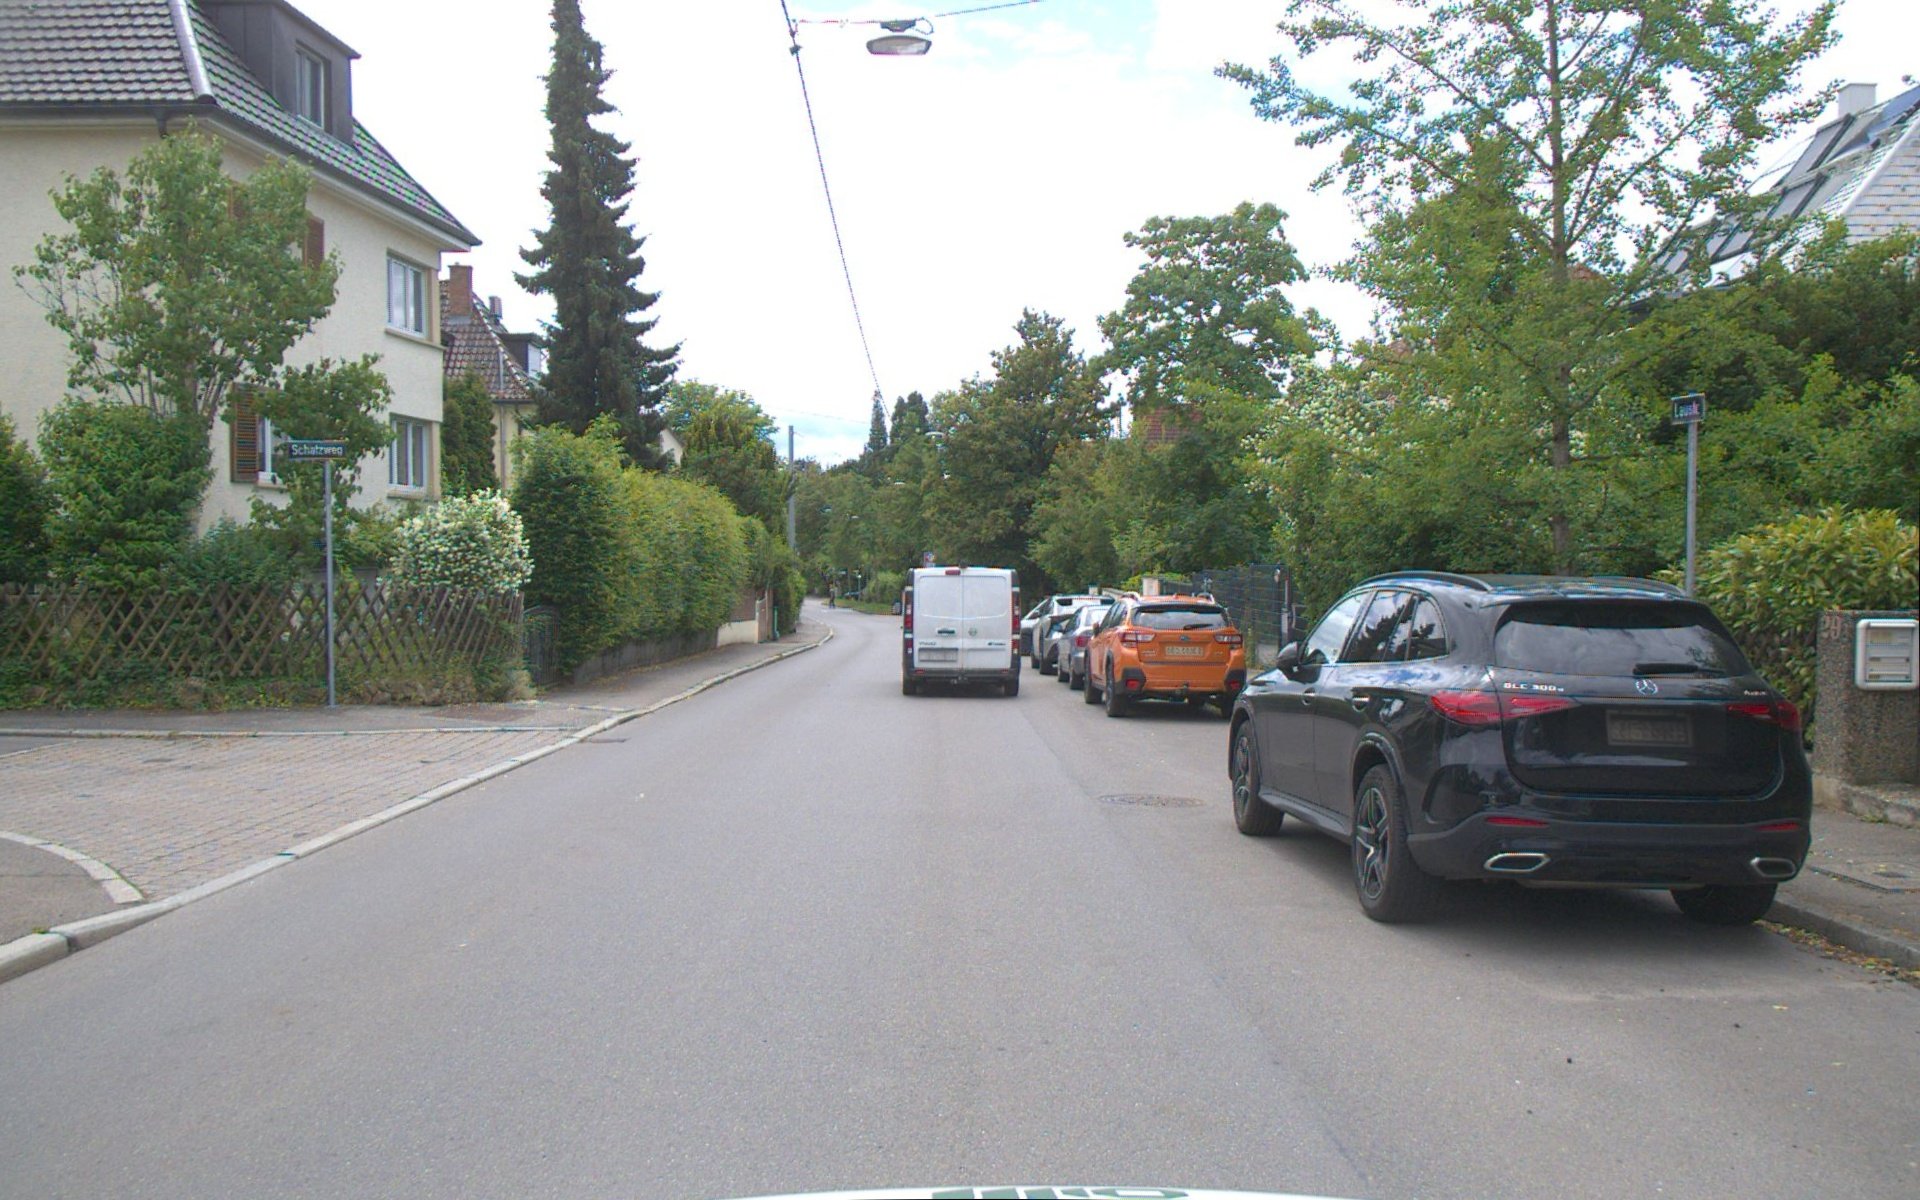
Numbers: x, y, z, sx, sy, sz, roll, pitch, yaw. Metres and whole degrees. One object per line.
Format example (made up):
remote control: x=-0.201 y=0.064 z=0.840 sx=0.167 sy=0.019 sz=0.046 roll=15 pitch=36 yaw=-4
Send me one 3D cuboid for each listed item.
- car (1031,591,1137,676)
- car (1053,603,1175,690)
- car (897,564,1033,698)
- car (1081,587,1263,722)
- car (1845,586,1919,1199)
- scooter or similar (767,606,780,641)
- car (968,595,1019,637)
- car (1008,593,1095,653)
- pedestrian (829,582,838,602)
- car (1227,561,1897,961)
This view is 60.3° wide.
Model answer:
car: x=2.517 y=0.652 z=34.547 sx=1.792 sy=1.652 sz=4.491 roll=0 pitch=0 yaw=-1
car: x=2.652 y=0.771 z=29.306 sx=1.681 sy=1.406 sz=4.235 roll=0 pitch=0 yaw=-1
car: x=-0.007 y=0.436 z=26.987 sx=1.892 sy=1.998 sz=4.398 roll=0 pitch=1 yaw=-4
car: x=2.818 y=0.684 z=22.828 sx=1.813 sy=1.655 sz=4.168 roll=1 pitch=0 yaw=-2
car: x=3.046 y=0.735 z=2.709 sx=1.566 sy=1.537 sz=3.013 roll=0 pitch=0 yaw=-1
scooter or similar: x=-6.464 y=0.804 z=57.349 sx=0.384 sy=1.191 sz=1.269 roll=0 pitch=0 yaw=-2
car: x=1.386 y=0.651 z=69.957 sx=1.828 sy=1.714 sz=4.347 roll=0 pitch=0 yaw=-3
car: x=2.441 y=0.611 z=44.014 sx=2.239 sy=1.550 sz=1.319 roll=-1 pitch=1 yaw=4
pedestrian: x=-10.248 y=-0.666 z=134.223 sx=0.684 sy=1.644 sz=0.714 roll=0 pitch=2 yaw=-8
car: x=2.902 y=0.685 z=9.153 sx=1.911 sy=1.655 sz=4.373 roll=1 pitch=0 yaw=-3
